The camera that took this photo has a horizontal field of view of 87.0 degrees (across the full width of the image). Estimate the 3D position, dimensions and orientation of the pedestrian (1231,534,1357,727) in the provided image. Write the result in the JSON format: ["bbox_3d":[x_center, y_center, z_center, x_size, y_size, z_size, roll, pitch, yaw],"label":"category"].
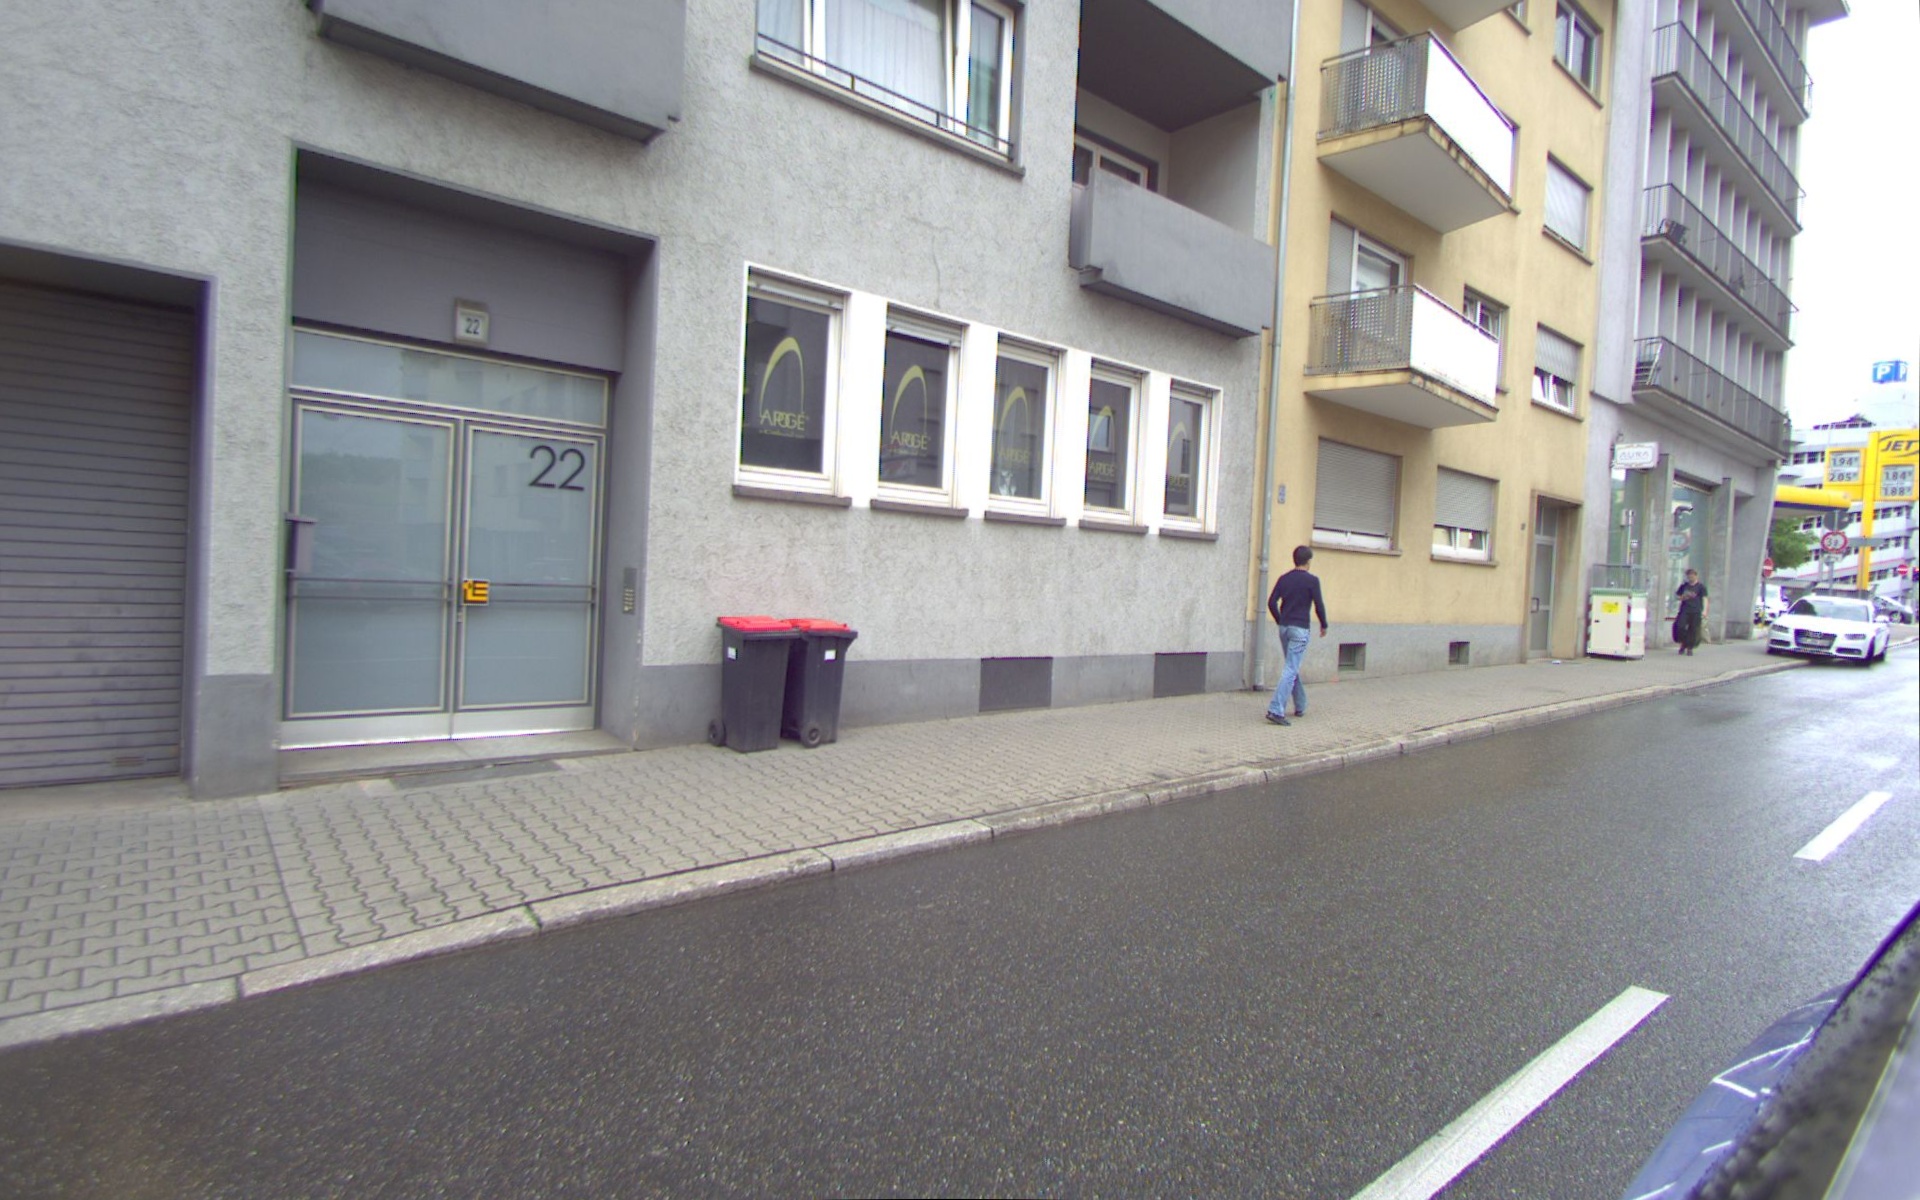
[{"bbox_3d":[3.342,0.278,10.116,1.038,1.799,0.644,0,5,-41],"label":"pedestrian"}]

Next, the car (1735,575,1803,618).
[{"bbox_3d":[30.037,-0.128,37.546,1.765,1.493,3.939,0,0,42],"label":"car"}]

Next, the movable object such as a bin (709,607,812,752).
[{"bbox_3d":[-1.472,0.561,7.445,0.506,0.967,0.541,0,5,-40],"label":"movable object such as a bin"}]

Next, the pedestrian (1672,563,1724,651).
[{"bbox_3d":[15.411,0.128,21.130,0.678,1.777,0.874,4,3,45],"label":"pedestrian"}]

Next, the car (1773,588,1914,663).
[{"bbox_3d":[20.122,0.504,23.006,4.093,1.453,1.803,0,4,-41],"label":"car"}]

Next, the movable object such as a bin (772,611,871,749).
[{"bbox_3d":[-1.068,0.592,7.784,0.506,0.961,0.541,0,5,-40],"label":"movable object such as a bin"}]
